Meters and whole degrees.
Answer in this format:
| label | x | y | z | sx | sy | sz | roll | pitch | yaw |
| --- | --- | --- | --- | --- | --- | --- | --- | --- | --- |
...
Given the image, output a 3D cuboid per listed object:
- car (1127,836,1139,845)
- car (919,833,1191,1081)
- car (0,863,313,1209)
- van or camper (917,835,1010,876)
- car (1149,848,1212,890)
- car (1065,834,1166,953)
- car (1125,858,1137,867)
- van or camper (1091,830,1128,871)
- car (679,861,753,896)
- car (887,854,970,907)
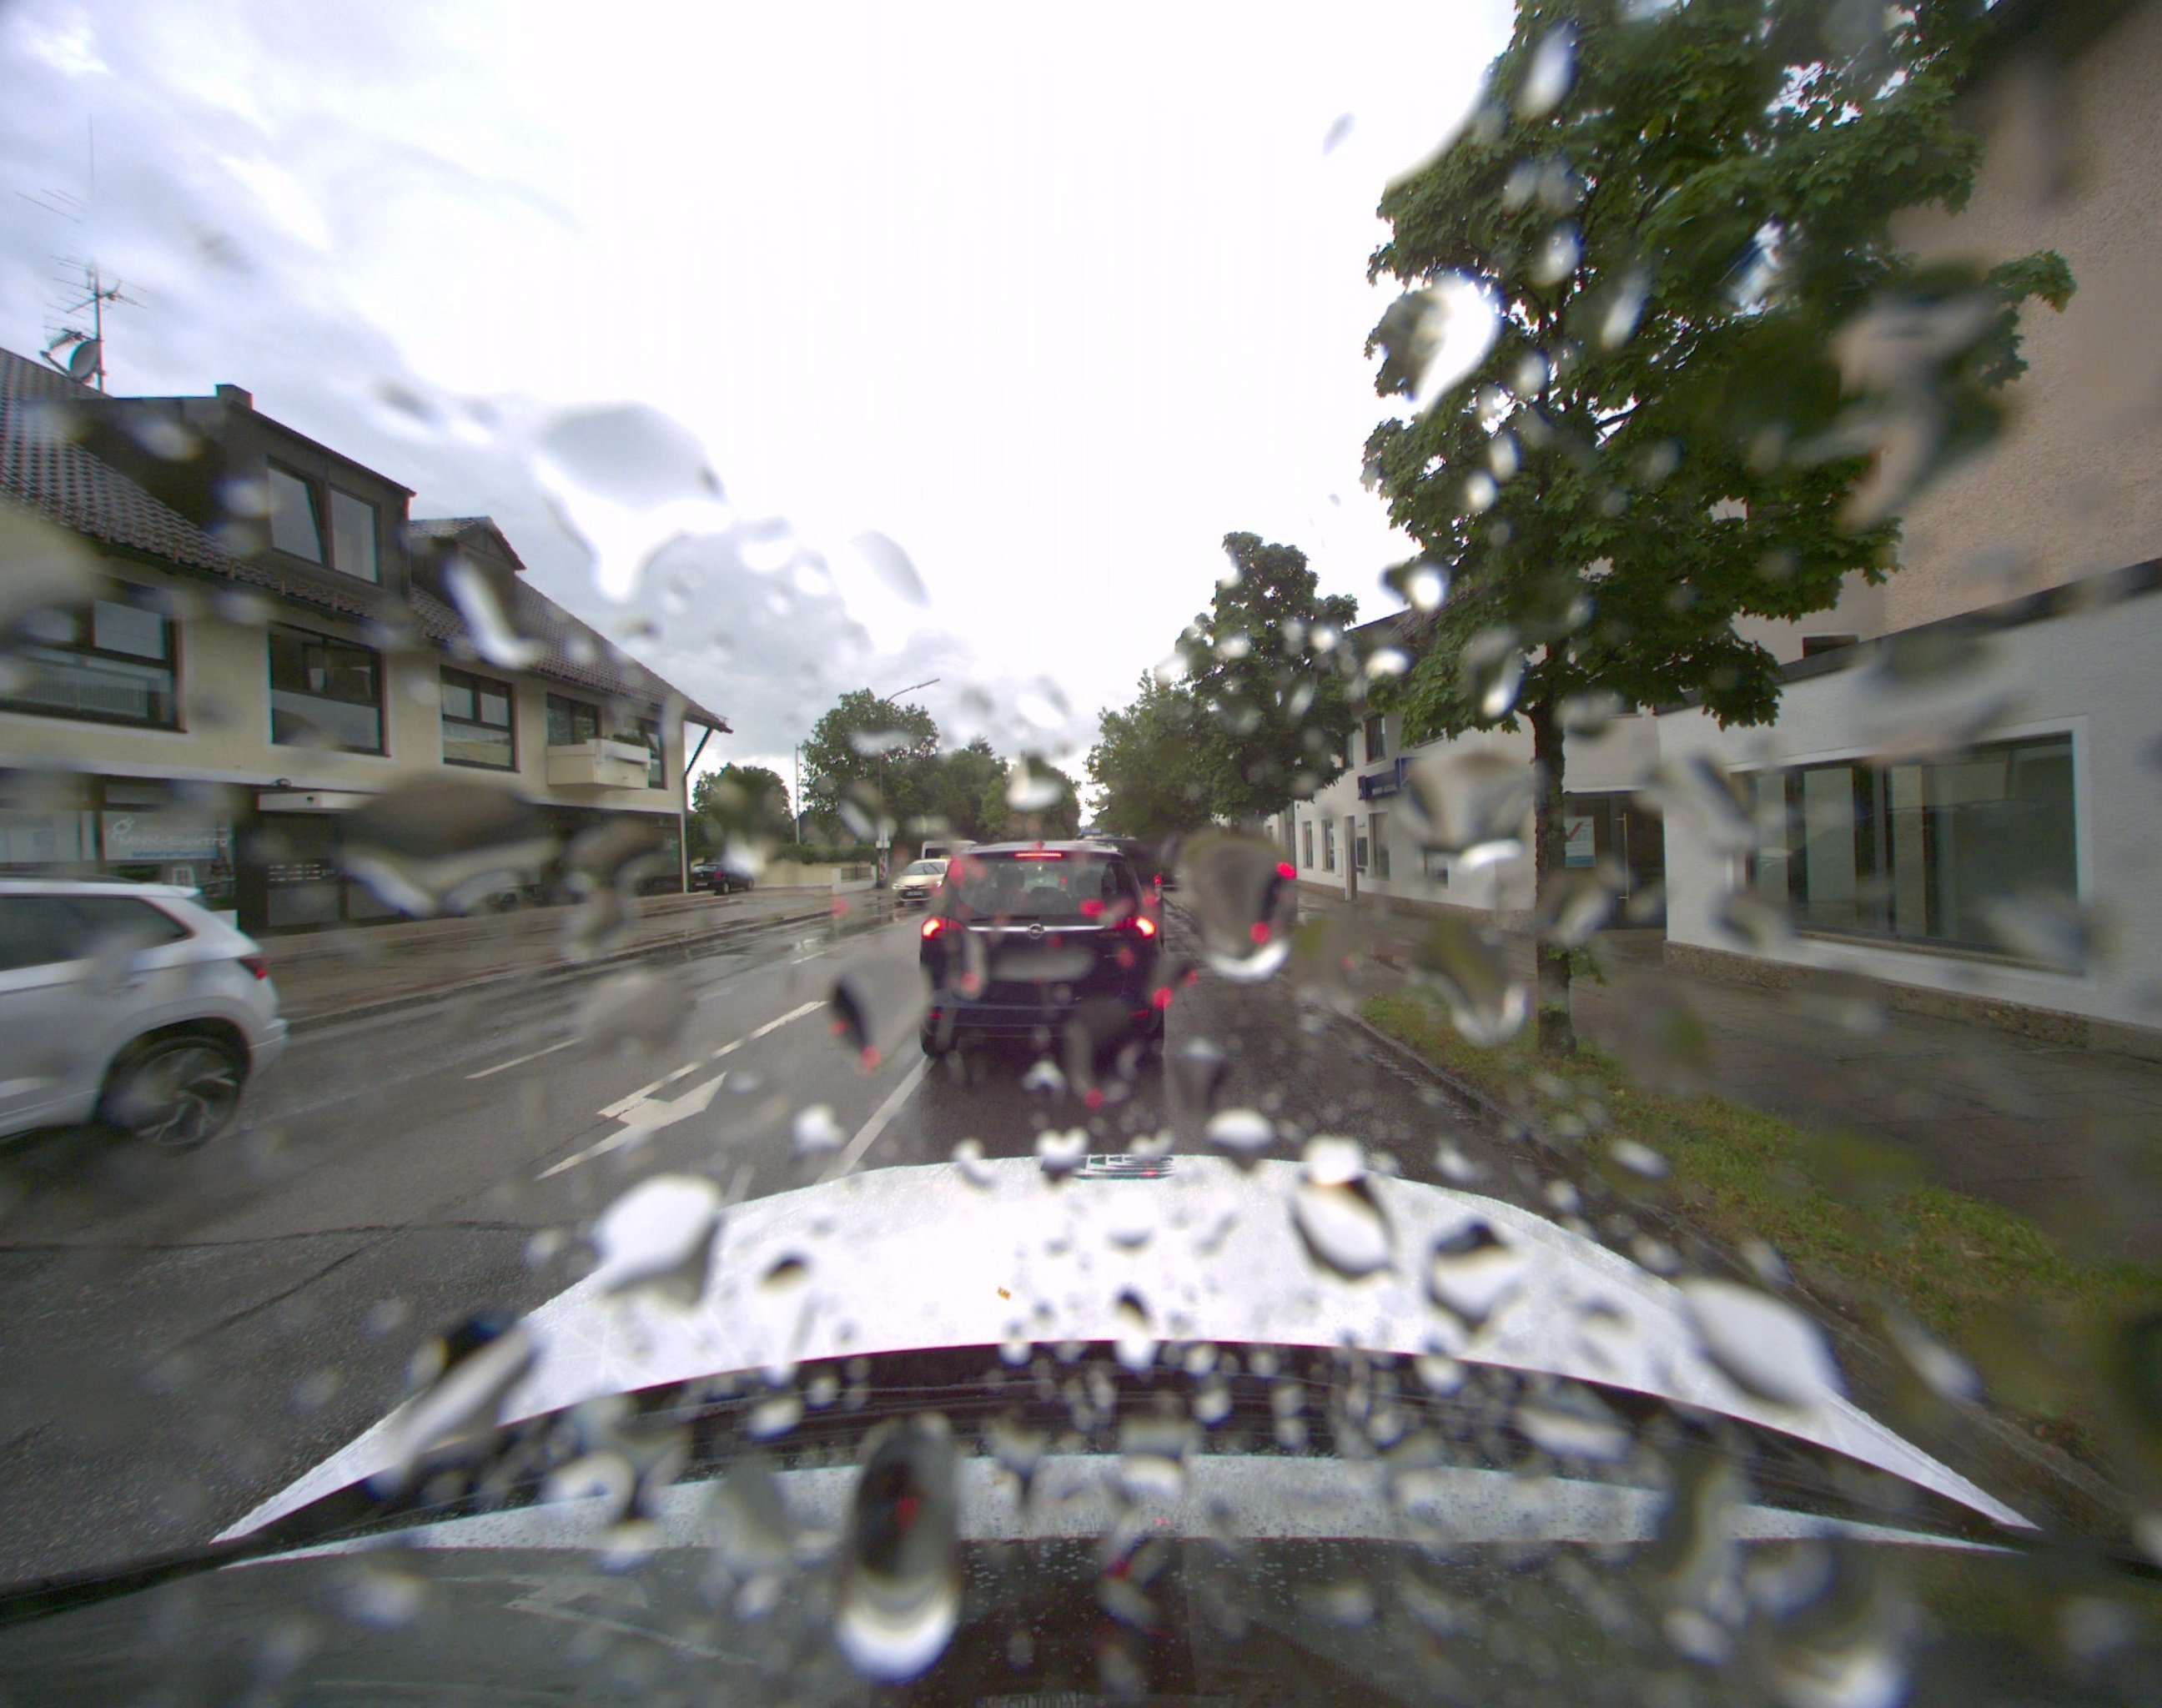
| label | x | y | z | sx | sy | sz | roll | pitch | yaw |
| --- | --- | --- | --- | --- | --- | --- | --- | --- | --- |
| car | 8.349 | -2.145 | 130.951 | 1.624 | 1.378 | 3.624 | -3 | 0 | 1 |
| car | -0.115 | 0.673 | 7.168 | 1.762 | 1.604 | 3.665 | -1 | 0 | 2 |
| car | -5.955 | 0.882 | 3.164 | 1.920 | 1.566 | 4.127 | -2 | 0 | 1 |
| van or camper | -8.376 | 0.119 | 58.267 | 6.223 | 2.707 | 2.102 | -2 | 0 | 2 |
| car | 3.928 | 0.589 | 32.769 | 2.110 | 1.581 | 3.936 | 0 | 0 | 1 |
| car | 0.566 | 0.583 | 13.751 | 1.495 | 1.776 | 3.113 | 0 | 0 | 2 |
| car | 7.450 | 1.254 | 121.428 | 1.624 | 1.378 | 3.624 | 0 | -1 | 1 |
| van or camper | 1.989 | -0.217 | 57.244 | 2.351 | 2.665 | 5.374 | -2 | 0 | 2 |
| car | -16.314 | 1.046 | 36.609 | 1.601 | 1.380 | 3.510 | -3 | 0 | 2 |
| car | -4.989 | 0.819 | 27.215 | 1.745 | 1.511 | 4.233 | -3 | 0 | 3 |
